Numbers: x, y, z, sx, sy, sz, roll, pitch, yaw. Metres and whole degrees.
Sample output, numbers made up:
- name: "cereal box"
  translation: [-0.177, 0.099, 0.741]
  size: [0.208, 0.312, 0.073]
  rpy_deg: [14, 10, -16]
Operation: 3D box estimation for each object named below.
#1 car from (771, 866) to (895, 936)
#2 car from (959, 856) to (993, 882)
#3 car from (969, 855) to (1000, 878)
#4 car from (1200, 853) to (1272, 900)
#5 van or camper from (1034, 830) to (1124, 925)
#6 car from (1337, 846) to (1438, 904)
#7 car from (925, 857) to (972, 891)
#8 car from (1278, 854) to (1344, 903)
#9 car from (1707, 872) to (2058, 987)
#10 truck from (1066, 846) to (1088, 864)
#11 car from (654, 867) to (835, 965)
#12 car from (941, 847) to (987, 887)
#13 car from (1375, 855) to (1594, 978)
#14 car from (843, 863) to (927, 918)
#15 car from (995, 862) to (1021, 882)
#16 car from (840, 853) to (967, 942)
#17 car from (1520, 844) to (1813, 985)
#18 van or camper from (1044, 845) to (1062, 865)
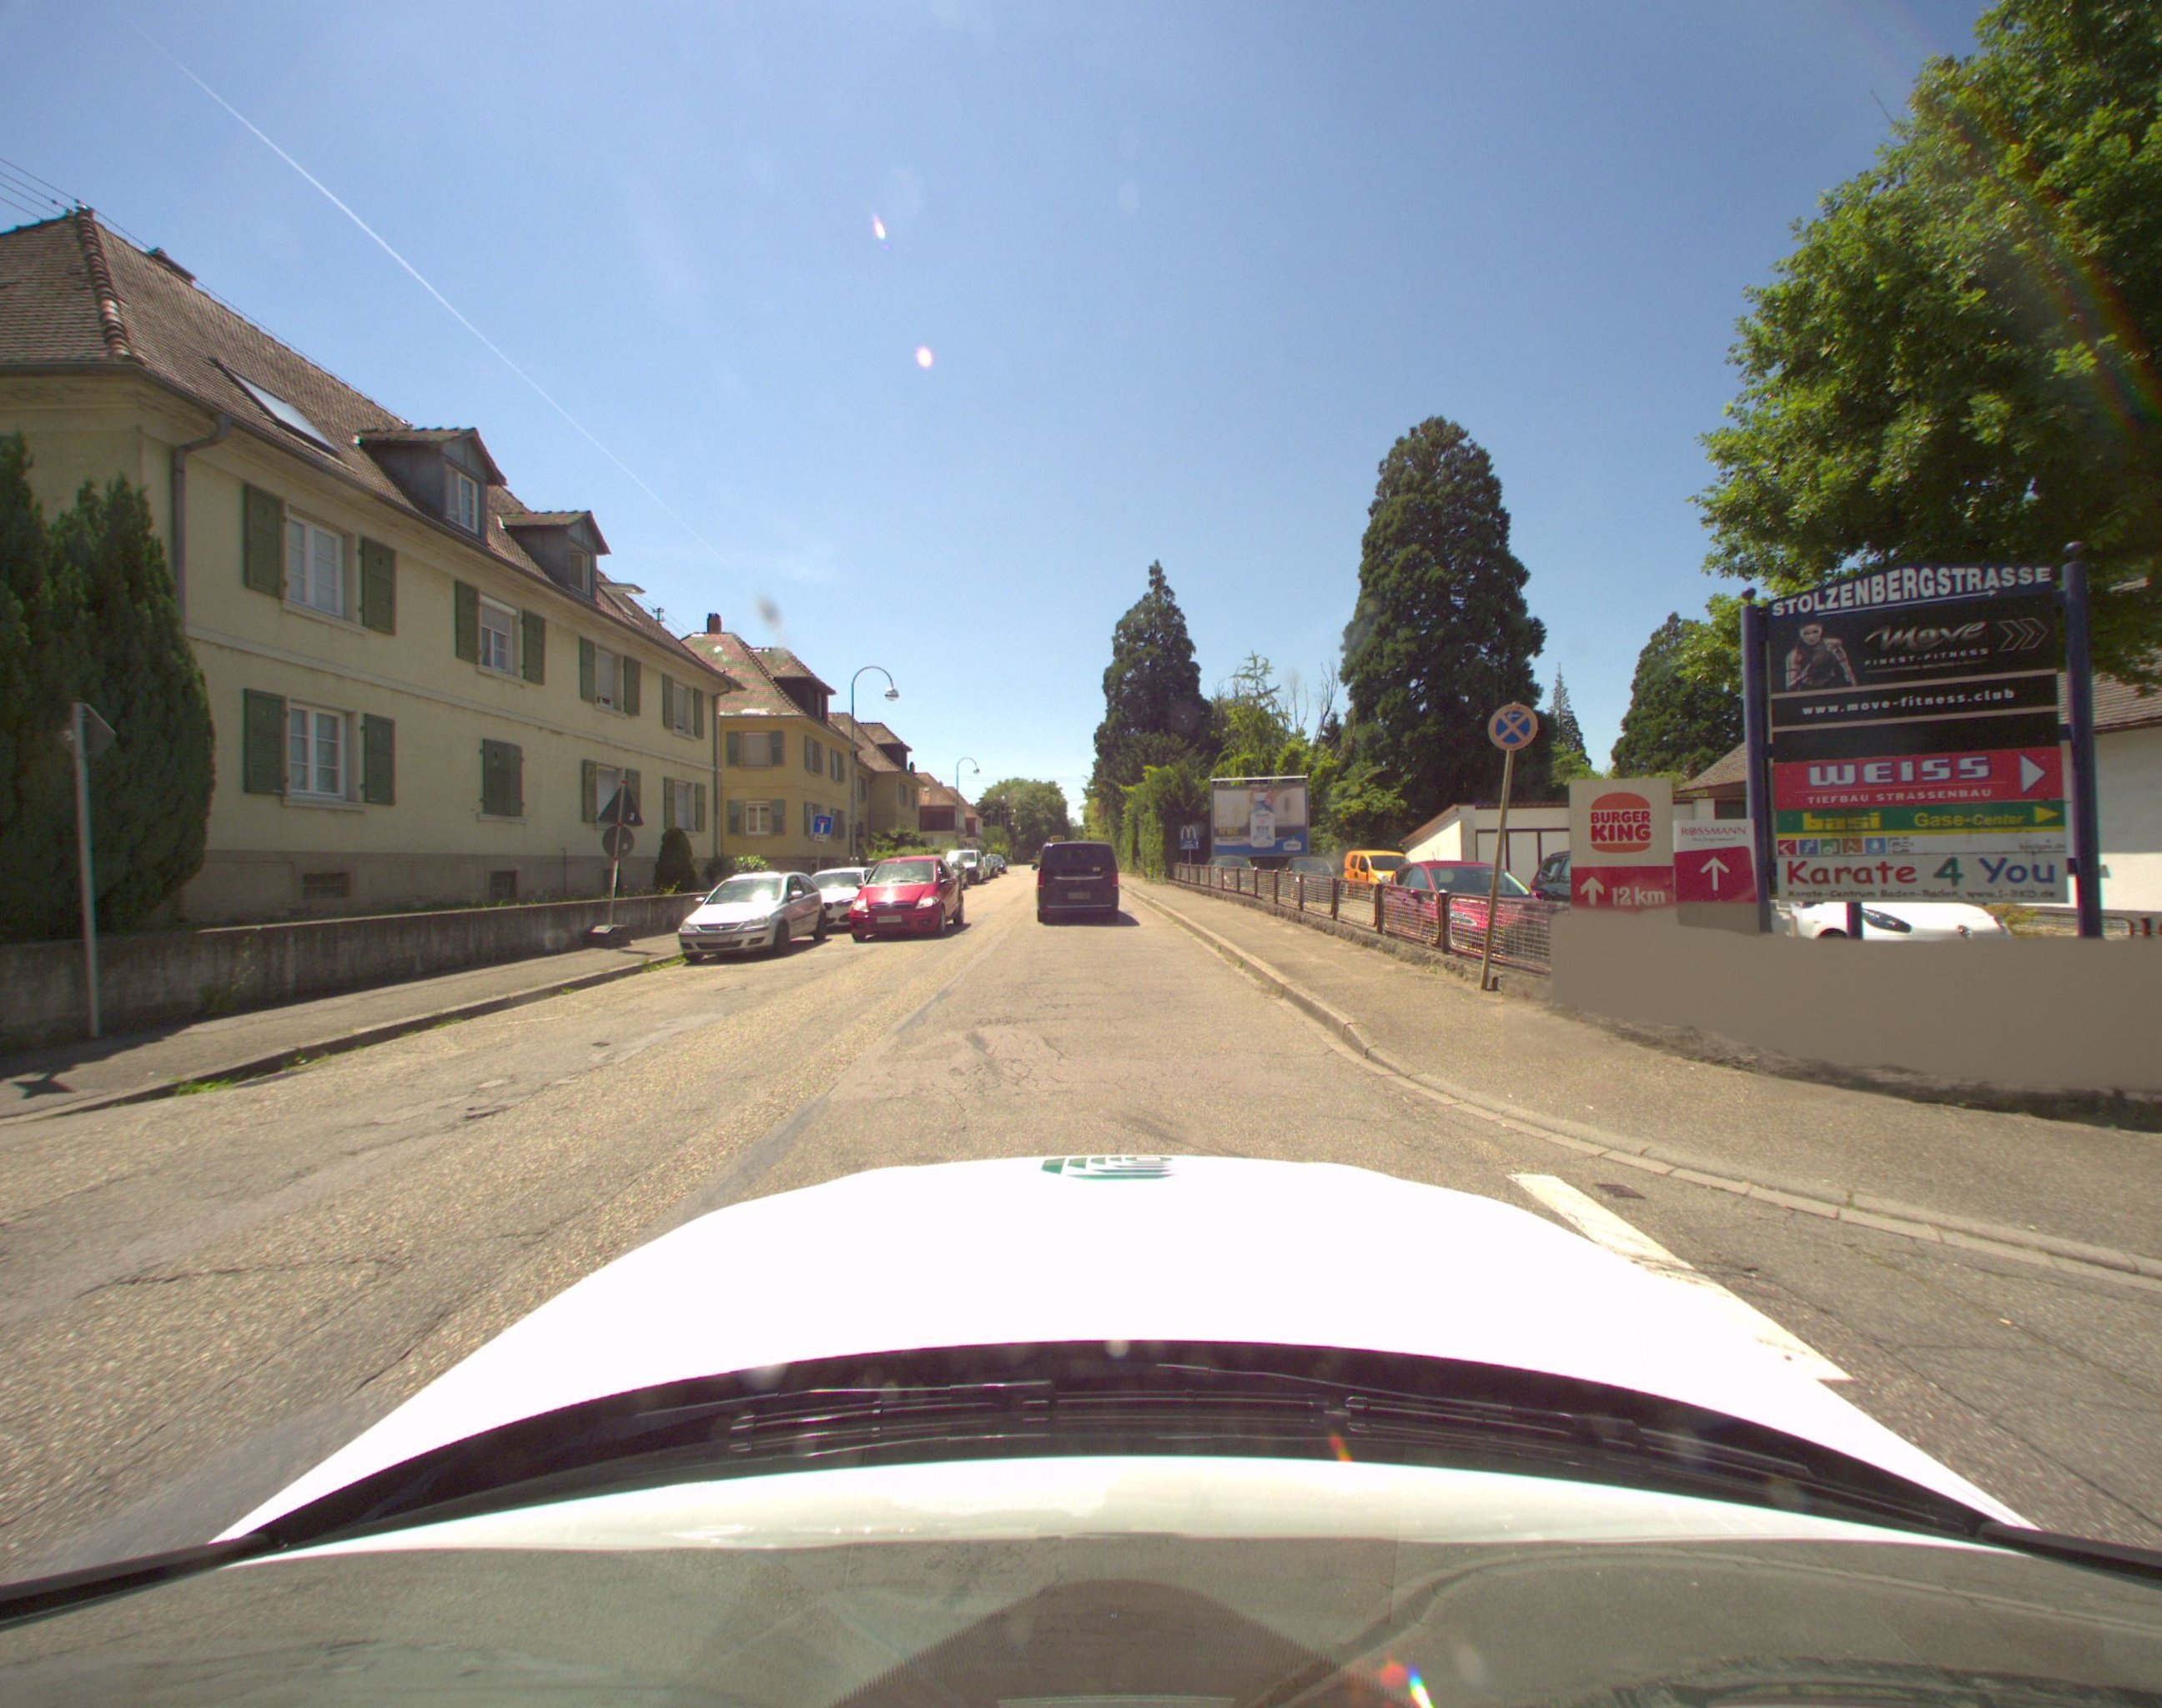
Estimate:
- name: "car"
  translation: [-5.822, 1.047, 19.647]
  size: [1.790, 1.402, 4.215]
  rpy_deg: [-3, 0, -2]
- name: "car"
  translation: [-6.519, 0.899, 50.989]
  size: [1.661, 1.492, 3.476]
  rpy_deg: [-4, 0, -1]
- name: "car"
  translation: [-6.563, 0.835, 55.818]
  size: [1.661, 1.492, 4.463]
  rpy_deg: [-1, 0, -1]
- name: "car"
  translation: [5.384, 0.753, 28.672]
  size: [1.628, 1.459, 3.552]
  rpy_deg: [3, -1, -3]
- name: "van or camper"
  translation: [-0.086, 0.513, 19.960]
  size: [1.897, 2.014, 5.267]
  rpy_deg: [0, 0, -1]
- name: "car"
  translation: [10.477, 0.688, 28.187]
  size: [1.770, 1.800, 4.162]
  rpy_deg: [3, -1, -2]
- name: "car"
  translation: [-6.359, 0.936, 39.368]
  size: [1.682, 1.525, 4.059]
  rpy_deg: [-1, 0, -2]
- name: "car"
  translation: [8.021, 0.833, 28.666]
  size: [1.623, 1.543, 3.398]
  rpy_deg: [2, -1, 6]
- name: "car"
  translation: [10.587, 0.914, 11.143]
  size: [1.703, 1.270, 3.391]
  rpy_deg: [-1, 0, 7]
- name: "truck"
  translation: [-0.593, 0.177, 108.215]
  size: [2.352, 2.258, 6.081]
  rpy_deg: [-1, 0, -5]
- name: "car"
  translation: [-5.956, 1.015, 14.949]
  size: [1.755, 1.447, 3.921]
  rpy_deg: [-3, 0, -2]
- name: "car"
  translation: [-6.442, 0.678, 45.377]
  size: [1.873, 1.963, 4.623]
  rpy_deg: [-4, 0, -1]
- name: "car"
  translation: [5.740, 0.799, 12.124]
  size: [1.703, 1.523, 3.847]
  rpy_deg: [-1, 0, 7]
- name: "car"
  translation: [-5.939, 1.054, 25.110]
  size: [1.711, 1.485, 4.072]
  rpy_deg: [-3, -1, -3]
- name: "car"
  translation: [-5.828, 1.429, 65.114]
  size: [1.661, 1.386, 4.378]
  rpy_deg: [-3, 0, -1]
- name: "car"
  translation: [-3.556, 0.822, 16.992]
  size: [1.809, 1.566, 3.695]
  rpy_deg: [-2, 0, -1]
- name: "car"
  translation: [8.225, 0.725, 12.028]
  size: [1.701, 1.665, 4.471]
  rpy_deg: [1, 0, 9]
- name: "van or camper"
  translation: [-3.924, 0.155, 112.249]
  size: [2.258, 2.528, 4.753]
  rpy_deg: [-2, 0, -3]
